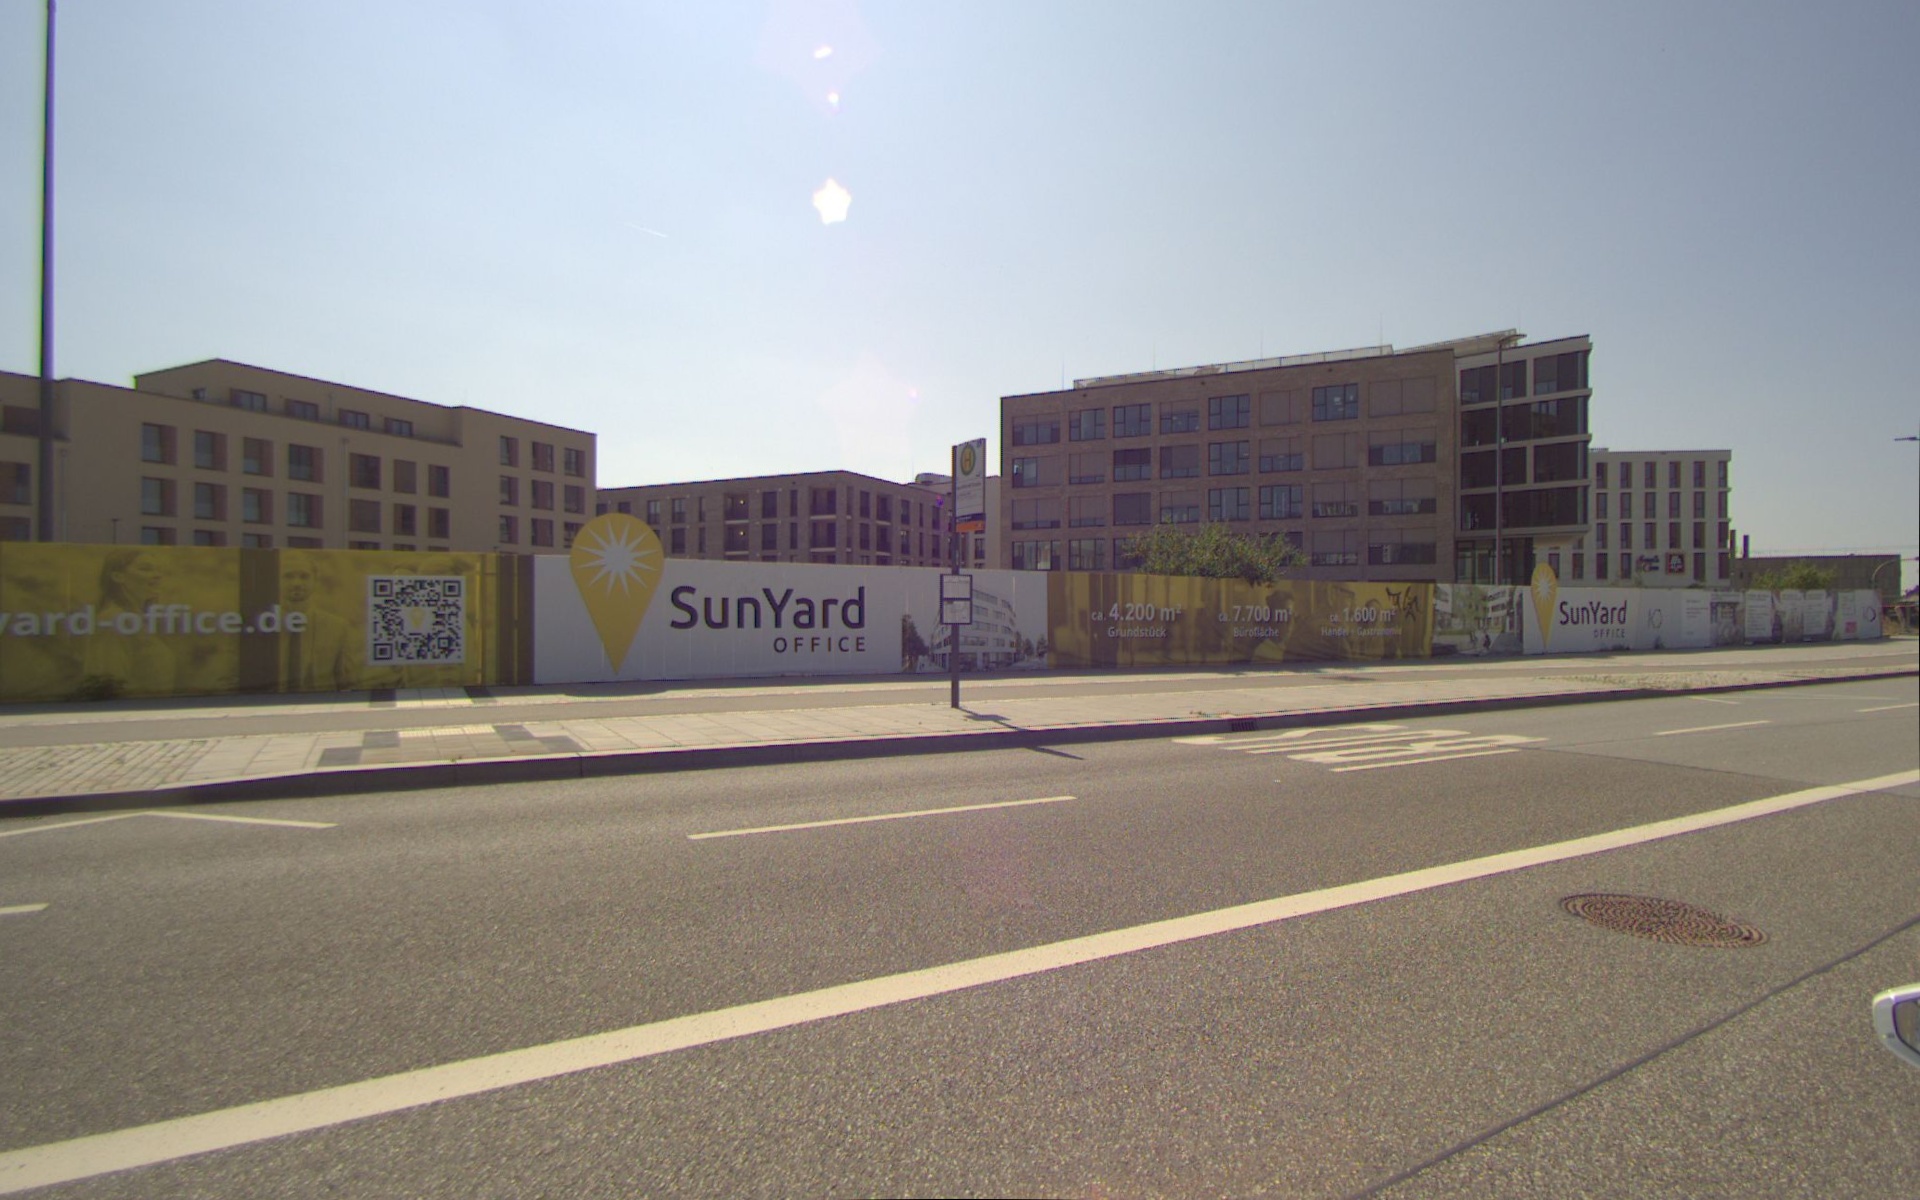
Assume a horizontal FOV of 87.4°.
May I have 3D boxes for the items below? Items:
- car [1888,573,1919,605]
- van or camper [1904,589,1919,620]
[{"bbox_3d":[62.853,-0.725,64.794,3.919,2.040,2.001,0,0,9],"label":"car"},{"bbox_3d":[61.035,0.359,61.261,4.622,1.922,2.001,2,0,13],"label":"van or camper"}]
